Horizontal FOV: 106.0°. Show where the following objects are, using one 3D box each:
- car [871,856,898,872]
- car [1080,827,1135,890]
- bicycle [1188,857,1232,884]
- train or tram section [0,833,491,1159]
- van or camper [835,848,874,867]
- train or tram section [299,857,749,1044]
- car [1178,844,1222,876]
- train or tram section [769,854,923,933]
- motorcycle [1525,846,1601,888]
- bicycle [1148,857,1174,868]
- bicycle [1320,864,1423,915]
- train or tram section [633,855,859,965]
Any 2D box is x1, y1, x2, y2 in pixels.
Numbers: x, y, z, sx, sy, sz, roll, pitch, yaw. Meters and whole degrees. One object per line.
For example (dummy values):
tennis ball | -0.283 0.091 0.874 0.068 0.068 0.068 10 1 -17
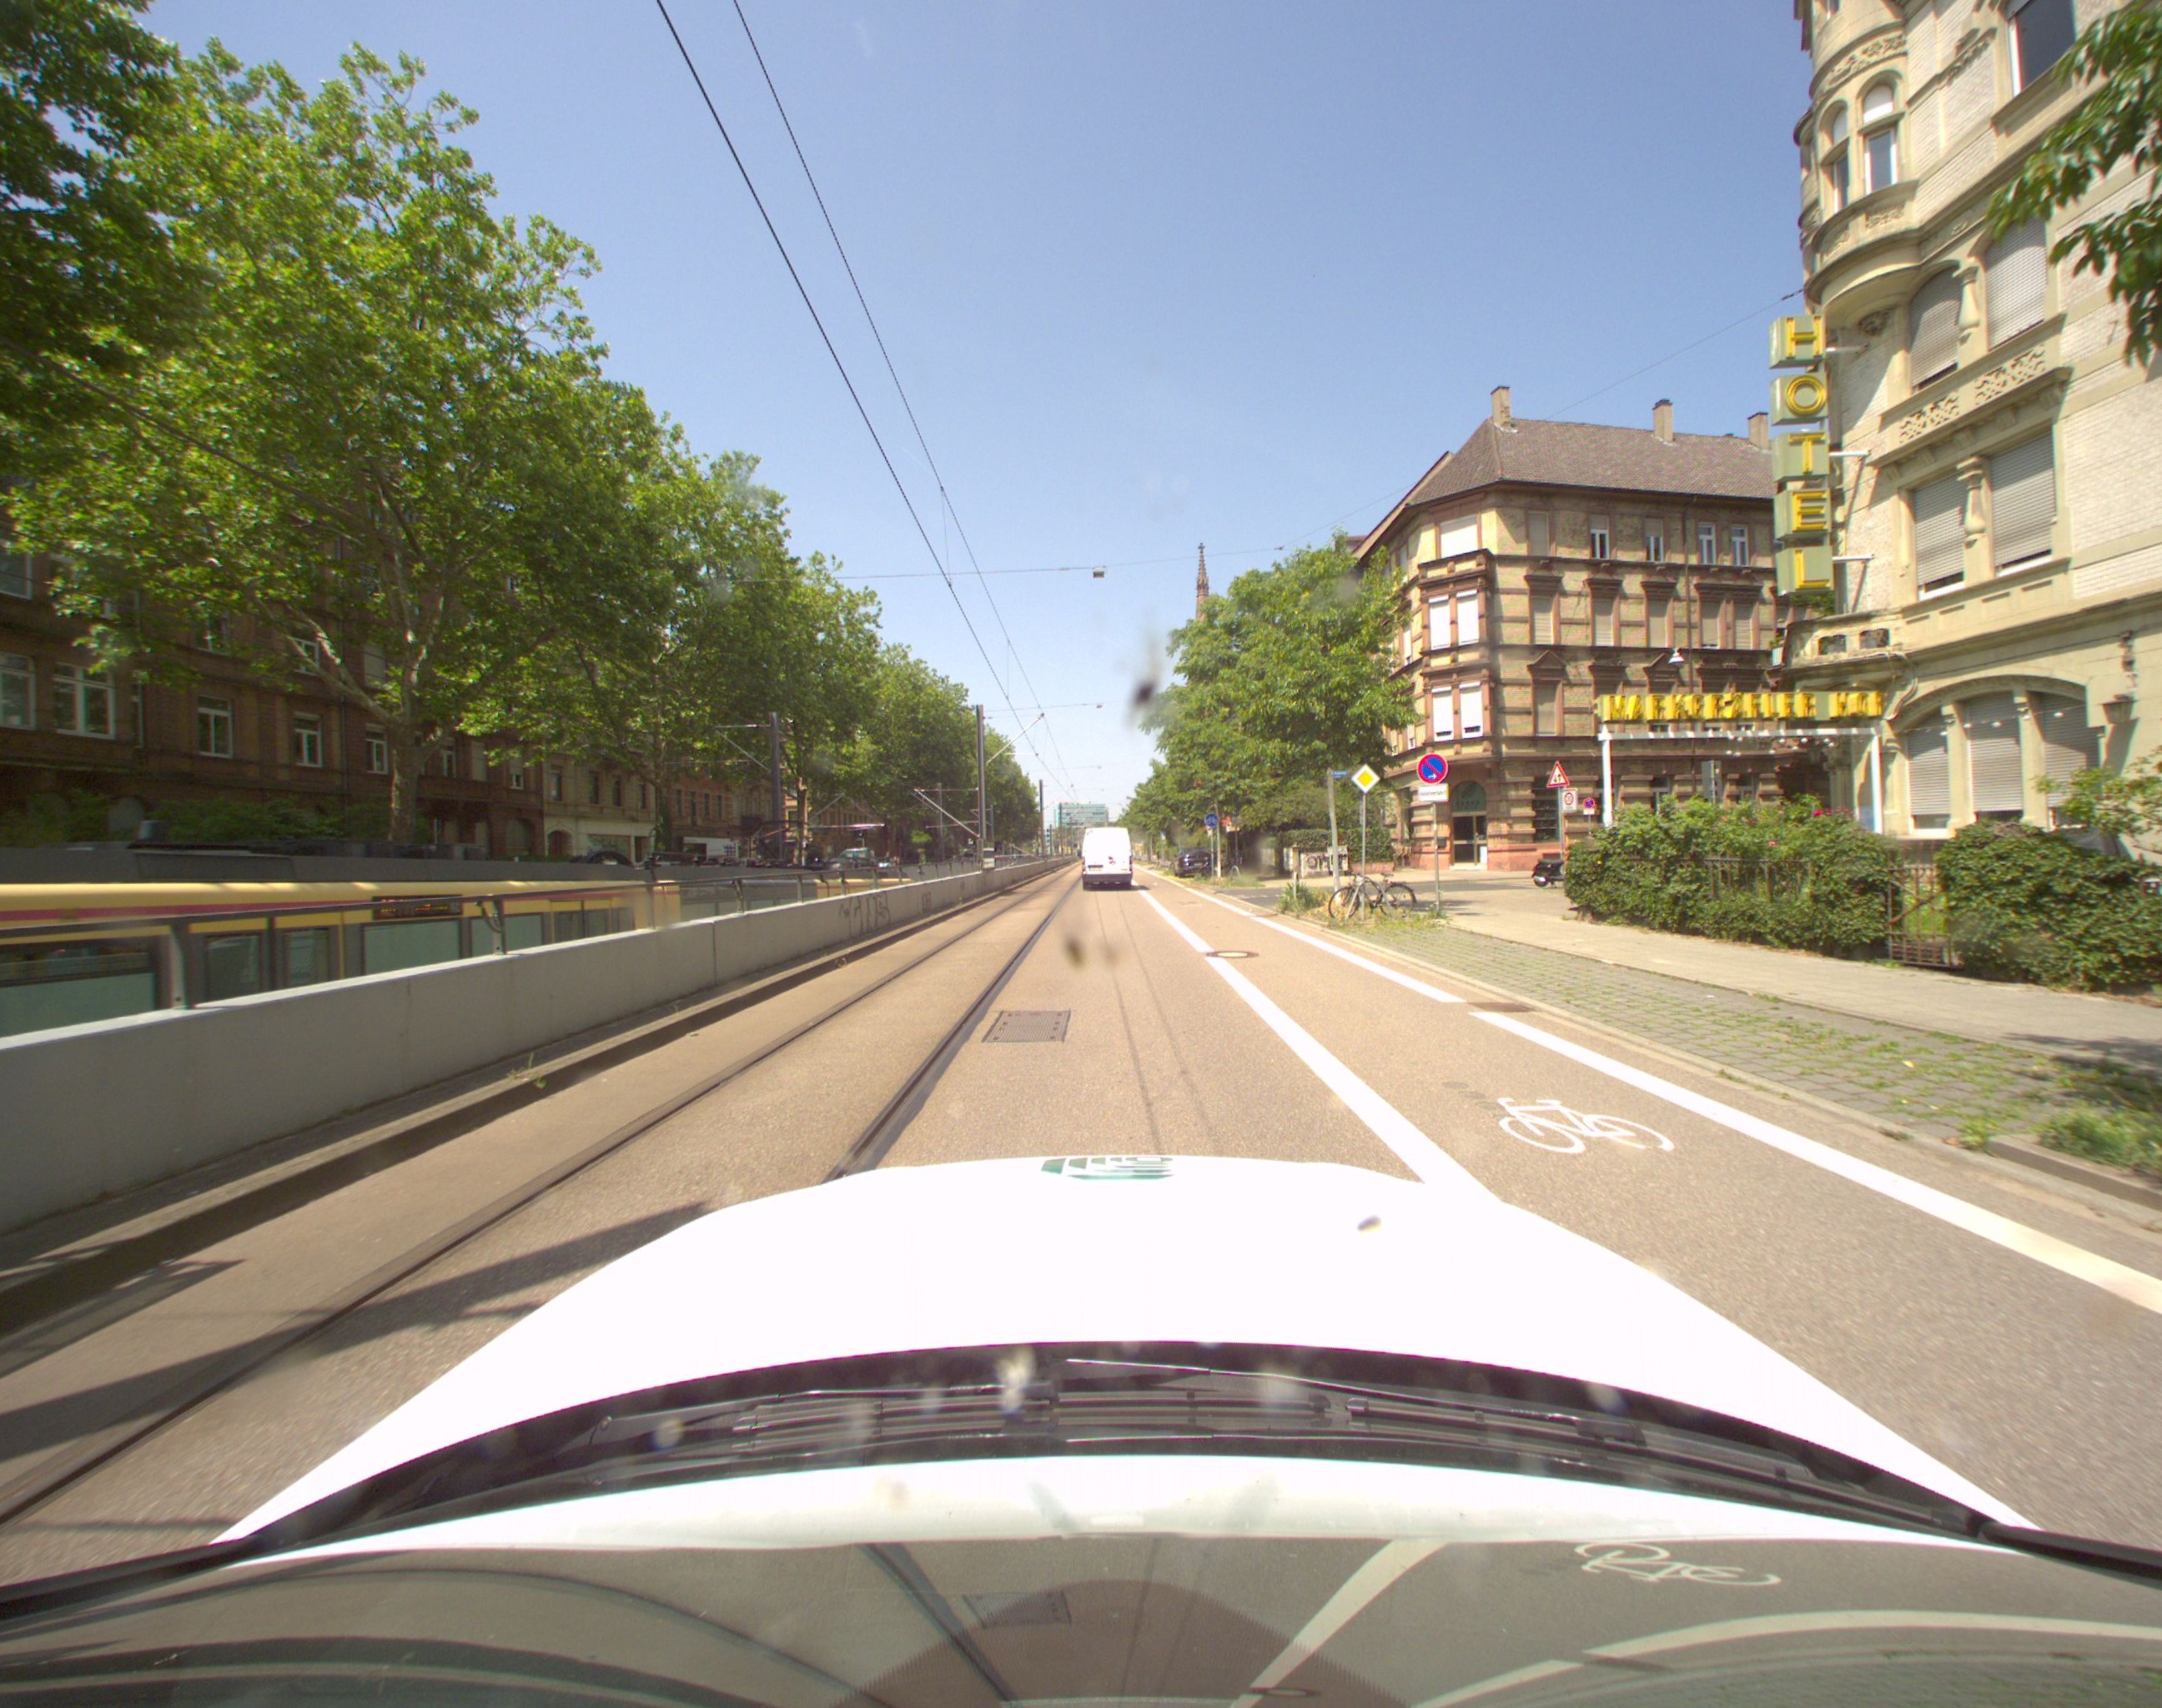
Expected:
car | -22.093 1.114 91.637 1.987 1.684 4.001 -2 0 1
car | 1.048 0.166 34.569 2.110 2.459 5.053 -1 0 0
bicycle | 5.958 0.761 37.629 1.881 1.182 0.640 -1 0 -1
train or tram section | -9.688 1.120 7.052 2.719 2.508 8.520 -1 0 2
van or camper | -26.422 0.398 95.040 3.976 2.013 1.999 -2 0 -2
train or tram section | -9.430 1.363 15.390 2.718 2.508 8.007 -1 0 2
car | 6.657 0.330 45.954 2.147 1.670 4.004 -1 0 3
train or tram section | -8.799 1.318 32.100 2.718 2.508 10.094 -1 0 2
motorcycle | 13.706 0.365 23.216 0.511 1.123 1.870 -1 0 -25
bicycle | 6.520 0.652 66.156 1.548 0.826 4.016 -1 0 14
bicycle | 5.742 0.697 16.148 1.835 0.953 0.503 -2 0 2
train or tram section | -9.134 1.341 23.649 2.718 2.508 8.495 -1 0 2
